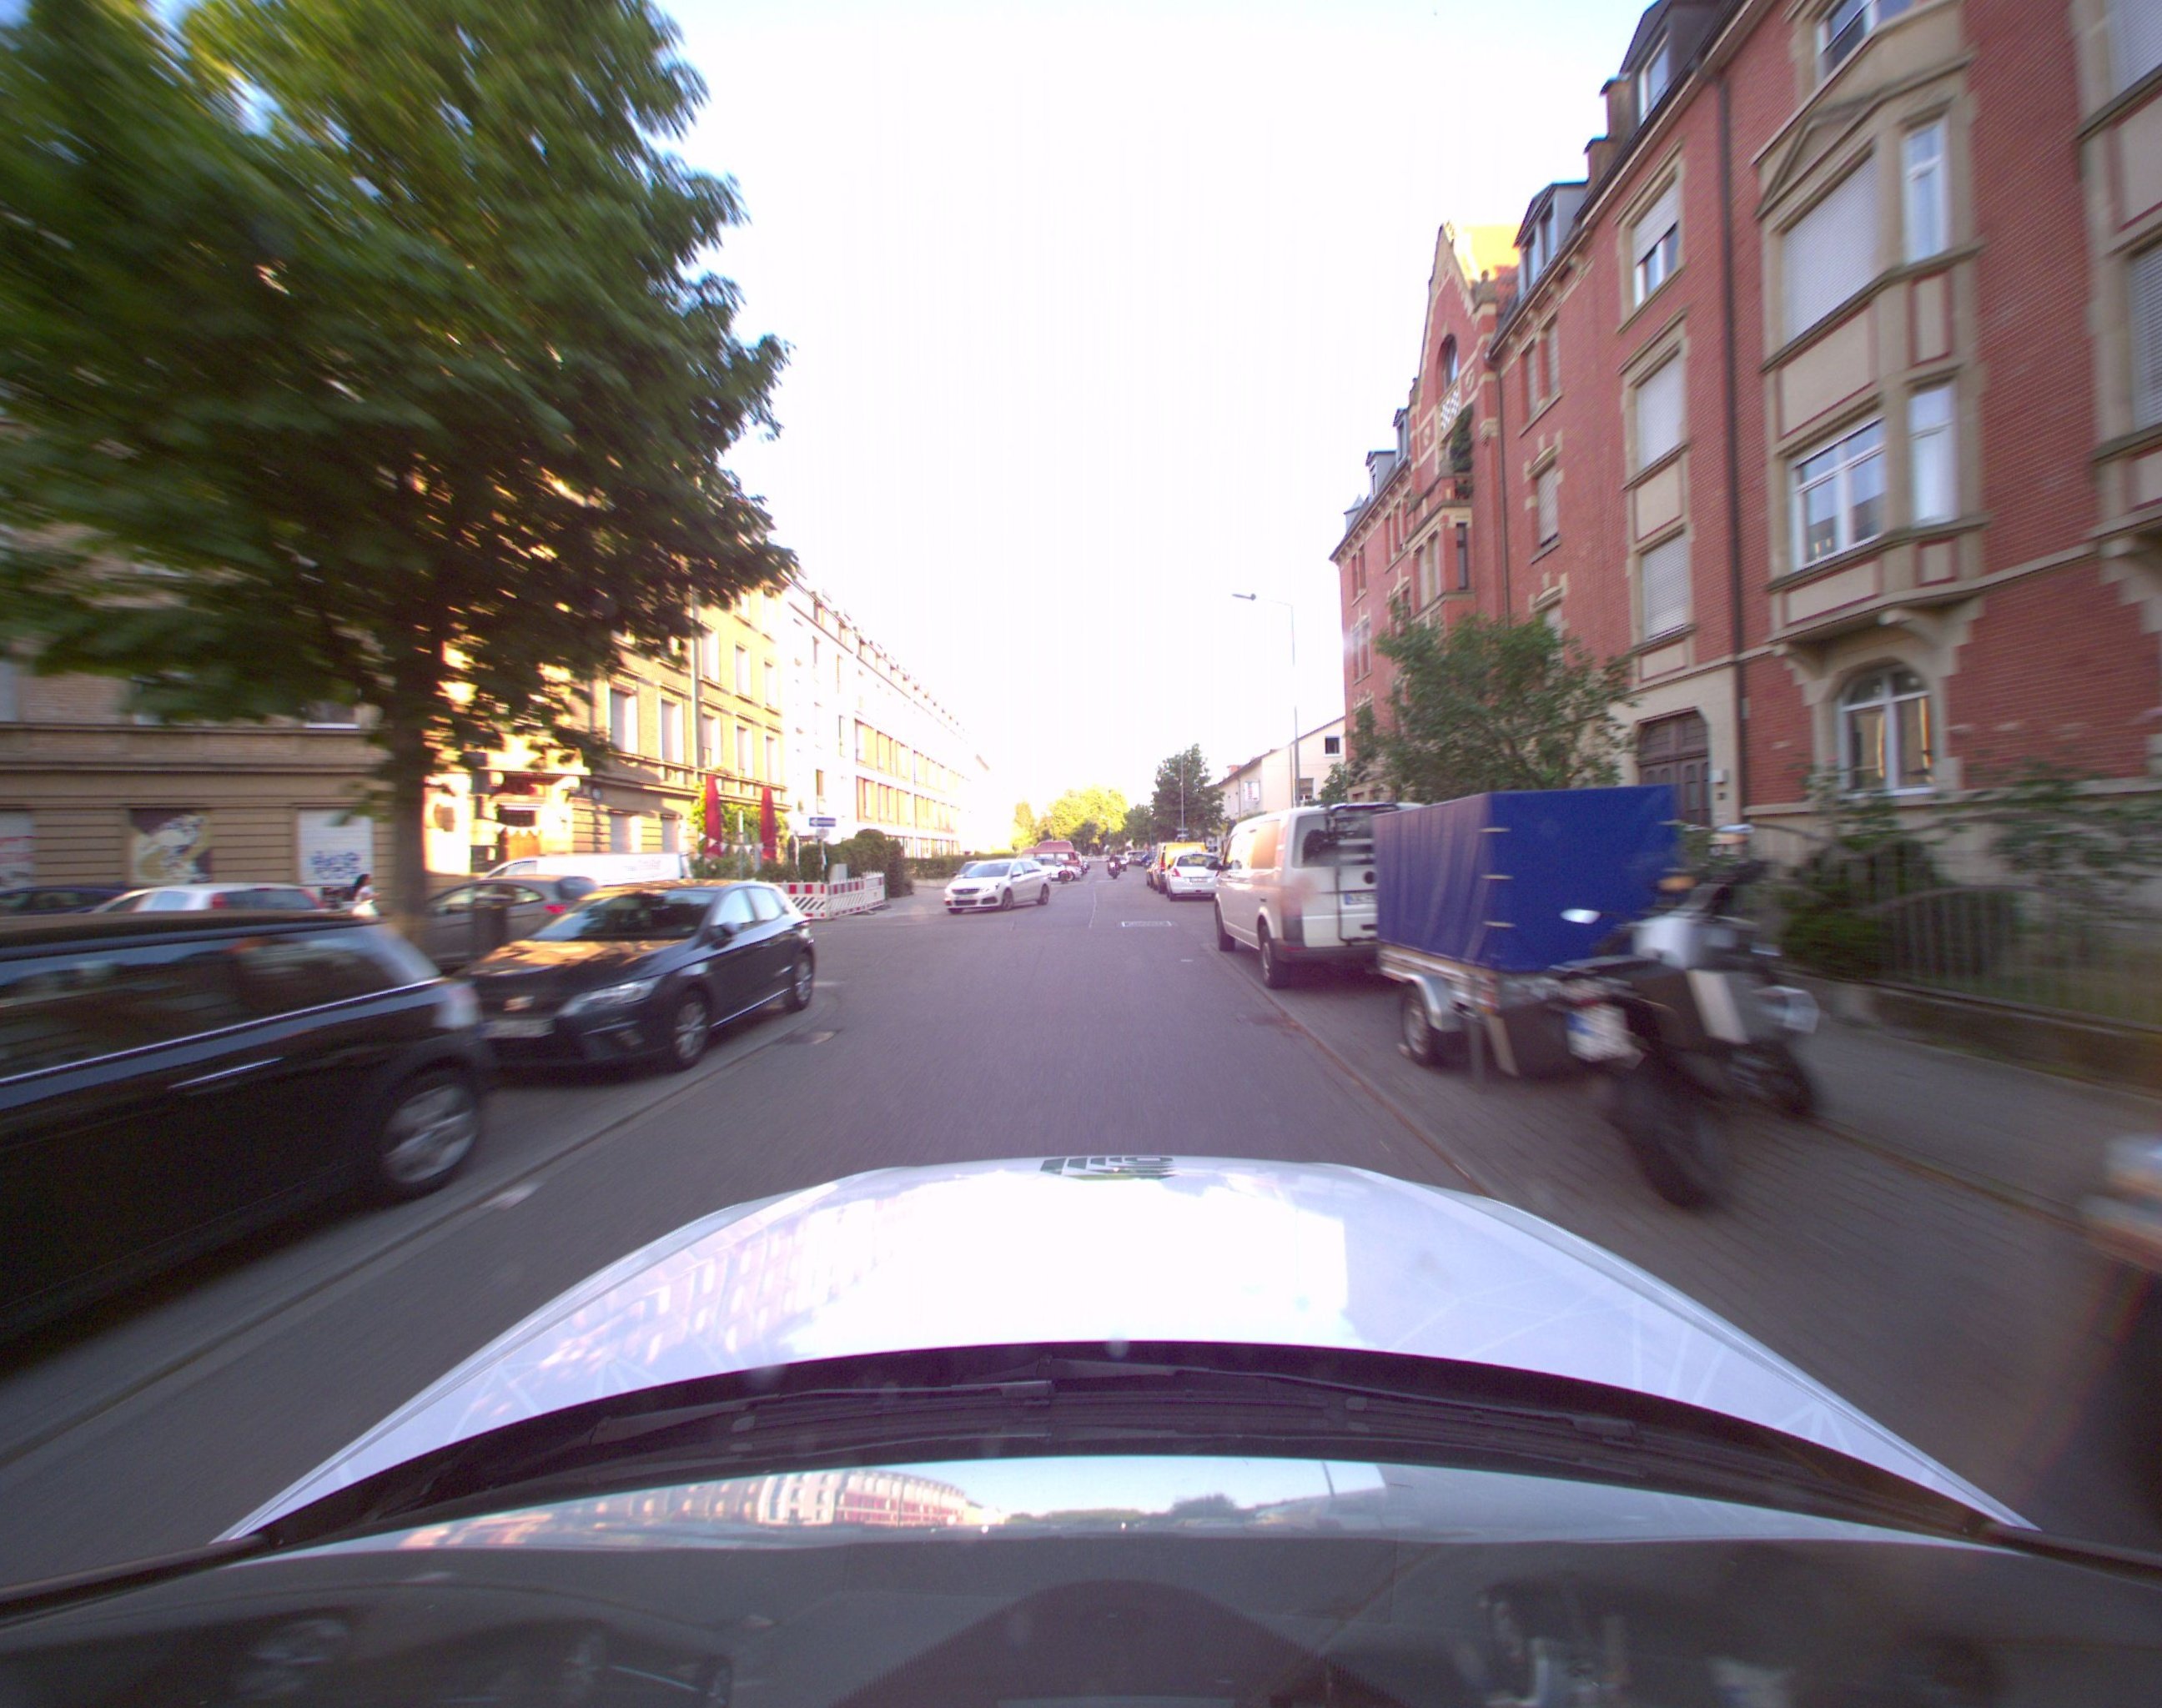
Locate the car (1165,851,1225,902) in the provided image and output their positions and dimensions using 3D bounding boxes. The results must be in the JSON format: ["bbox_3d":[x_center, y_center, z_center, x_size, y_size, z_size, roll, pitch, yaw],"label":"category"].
[{"bbox_3d":[3.577,0.671,26.141,1.667,1.477,3.866,-1,0,4],"label":"car"}]

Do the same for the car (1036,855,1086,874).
[{"bbox_3d":[-1.747,0.886,71.049,4.240,1.660,2.001,0,0,2],"label":"car"}]

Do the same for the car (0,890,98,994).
[{"bbox_3d":[-17.818,1.376,11.810,4.073,1.439,1.988,-2,0,-15],"label":"car"}]

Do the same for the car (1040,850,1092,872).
[{"bbox_3d":[-1.389,0.653,77.958,4.832,2.021,1.907,0,0,2],"label":"car"}]

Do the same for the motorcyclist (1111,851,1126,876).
[{"bbox_3d":[2.382,0.624,52.165,0.782,1.540,0.547,-4,-1,11],"label":"motorcyclist"}]

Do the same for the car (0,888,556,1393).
[{"bbox_3d":[-4.095,0.919,2.740,1.734,1.420,4.147,-1,0,4],"label":"car"}]

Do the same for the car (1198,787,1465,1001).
[{"bbox_3d":[2.919,0.408,10.961,1.855,2.039,5.545,-3,0,1],"label":"car"}]

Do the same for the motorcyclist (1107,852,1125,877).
[{"bbox_3d":[2.194,0.666,51.411,0.883,1.505,0.972,-4,-1,11],"label":"motorcyclist"}]

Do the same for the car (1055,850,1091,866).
[{"bbox_3d":[-1.014,0.516,106.479,4.516,2.134,2.001,0,0,2],"label":"car"}]

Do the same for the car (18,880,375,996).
[{"bbox_3d":[-13.456,1.186,12.492,4.030,1.508,1.981,0,0,14],"label":"car"}]

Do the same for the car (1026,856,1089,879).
[{"bbox_3d":[-1.548,0.911,55.528,4.195,1.538,1.791,0,0,0],"label":"car"}]

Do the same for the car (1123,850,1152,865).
[{"bbox_3d":[8.259,0.488,119.476,3.959,1.911,2.047,-4,0,-3],"label":"car"}]

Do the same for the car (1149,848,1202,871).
[{"bbox_3d":[9.413,0.575,81.371,4.928,1.958,2.049,-4,0,0],"label":"car"}]

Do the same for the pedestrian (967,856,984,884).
[{"bbox_3d":[-5.820,0.879,45.025,0.829,1.501,0.798,0,0,2],"label":"pedestrian"}]

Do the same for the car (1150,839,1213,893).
[{"bbox_3d":[3.785,0.442,31.474,1.886,1.884,5.084,-1,0,2],"label":"car"}]

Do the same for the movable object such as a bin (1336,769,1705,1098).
[{"bbox_3d":[2.978,0.477,6.013,1.407,1.878,2.325,-3,0,1],"label":"movable object such as a bin"}]

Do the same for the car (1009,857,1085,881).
[{"bbox_3d":[-2.072,0.907,50.316,4.603,1.460,1.880,0,0,-2],"label":"car"}]

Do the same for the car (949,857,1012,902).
[{"bbox_3d":[-3.685,0.916,30.432,1.697,1.534,3.846,-1,0,2],"label":"car"}]

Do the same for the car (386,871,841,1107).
[{"bbox_3d":[-3.776,0.940,7.660,1.669,1.461,4.463,-1,0,0],"label":"car"}]

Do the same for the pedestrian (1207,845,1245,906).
[{"bbox_3d":[4.199,0.597,23.607,0.880,1.722,0.964,0,0,23],"label":"pedestrian"}]

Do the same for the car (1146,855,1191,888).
[{"bbox_3d":[3.917,0.755,37.121,1.715,1.424,4.255,0,0,2],"label":"car"}]

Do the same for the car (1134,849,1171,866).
[{"bbox_3d":[9.111,0.480,103.825,4.469,1.911,1.686,-4,0,-3],"label":"car"}]

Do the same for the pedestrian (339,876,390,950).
[{"bbox_3d":[-16.363,1.324,18.618,0.790,1.618,0.704,0,0,-34],"label":"pedestrian"}]

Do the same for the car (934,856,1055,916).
[{"bbox_3d":[-2.425,0.887,24.206,1.800,1.523,4.620,-3,0,18],"label":"car"}]

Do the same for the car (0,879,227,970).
[{"bbox_3d":[-20.772,1.423,16.722,3.923,1.571,2.008,-2,0,-23],"label":"car"}]

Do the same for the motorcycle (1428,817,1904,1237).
[{"bbox_3d":[2.903,0.625,4.011,2.102,1.482,1.122,-3,-1,-32],"label":"motorcycle"}]

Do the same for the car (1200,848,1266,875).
[{"bbox_3d":[10.050,0.479,54.020,4.034,1.514,1.758,-3,1,2],"label":"car"}]

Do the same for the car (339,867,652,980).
[{"bbox_3d":[-8.954,1.016,12.702,3.494,1.507,1.845,-1,1,1],"label":"car"}]

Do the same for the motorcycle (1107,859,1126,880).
[{"bbox_3d":[2.266,0.984,51.704,0.841,1.209,2.081,-4,-1,12],"label":"motorcycle"}]

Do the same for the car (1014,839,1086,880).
[{"bbox_3d":[-1.956,0.349,52.973,4.492,2.584,2.002,0,0,3],"label":"car"}]

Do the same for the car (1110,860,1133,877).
[{"bbox_3d":[3.904,1.359,78.367,1.770,1.517,4.008,-3,0,7],"label":"car"}]

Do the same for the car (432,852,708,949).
[{"bbox_3d":[-12.076,1.018,19.786,5.298,1.975,2.193,-2,0,-22],"label":"car"}]

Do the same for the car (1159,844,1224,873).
[{"bbox_3d":[8.942,0.390,66.208,4.970,1.983,2.221,-4,0,2],"label":"car"}]

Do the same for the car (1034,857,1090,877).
[{"bbox_3d":[-1.442,0.990,63.140,4.192,1.490,1.851,0,0,2],"label":"car"}]

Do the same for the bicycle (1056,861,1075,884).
[{"bbox_3d":[-0.826,1.008,45.053,0.804,1.221,2.868,0,0,4],"label":"bicycle"}]
